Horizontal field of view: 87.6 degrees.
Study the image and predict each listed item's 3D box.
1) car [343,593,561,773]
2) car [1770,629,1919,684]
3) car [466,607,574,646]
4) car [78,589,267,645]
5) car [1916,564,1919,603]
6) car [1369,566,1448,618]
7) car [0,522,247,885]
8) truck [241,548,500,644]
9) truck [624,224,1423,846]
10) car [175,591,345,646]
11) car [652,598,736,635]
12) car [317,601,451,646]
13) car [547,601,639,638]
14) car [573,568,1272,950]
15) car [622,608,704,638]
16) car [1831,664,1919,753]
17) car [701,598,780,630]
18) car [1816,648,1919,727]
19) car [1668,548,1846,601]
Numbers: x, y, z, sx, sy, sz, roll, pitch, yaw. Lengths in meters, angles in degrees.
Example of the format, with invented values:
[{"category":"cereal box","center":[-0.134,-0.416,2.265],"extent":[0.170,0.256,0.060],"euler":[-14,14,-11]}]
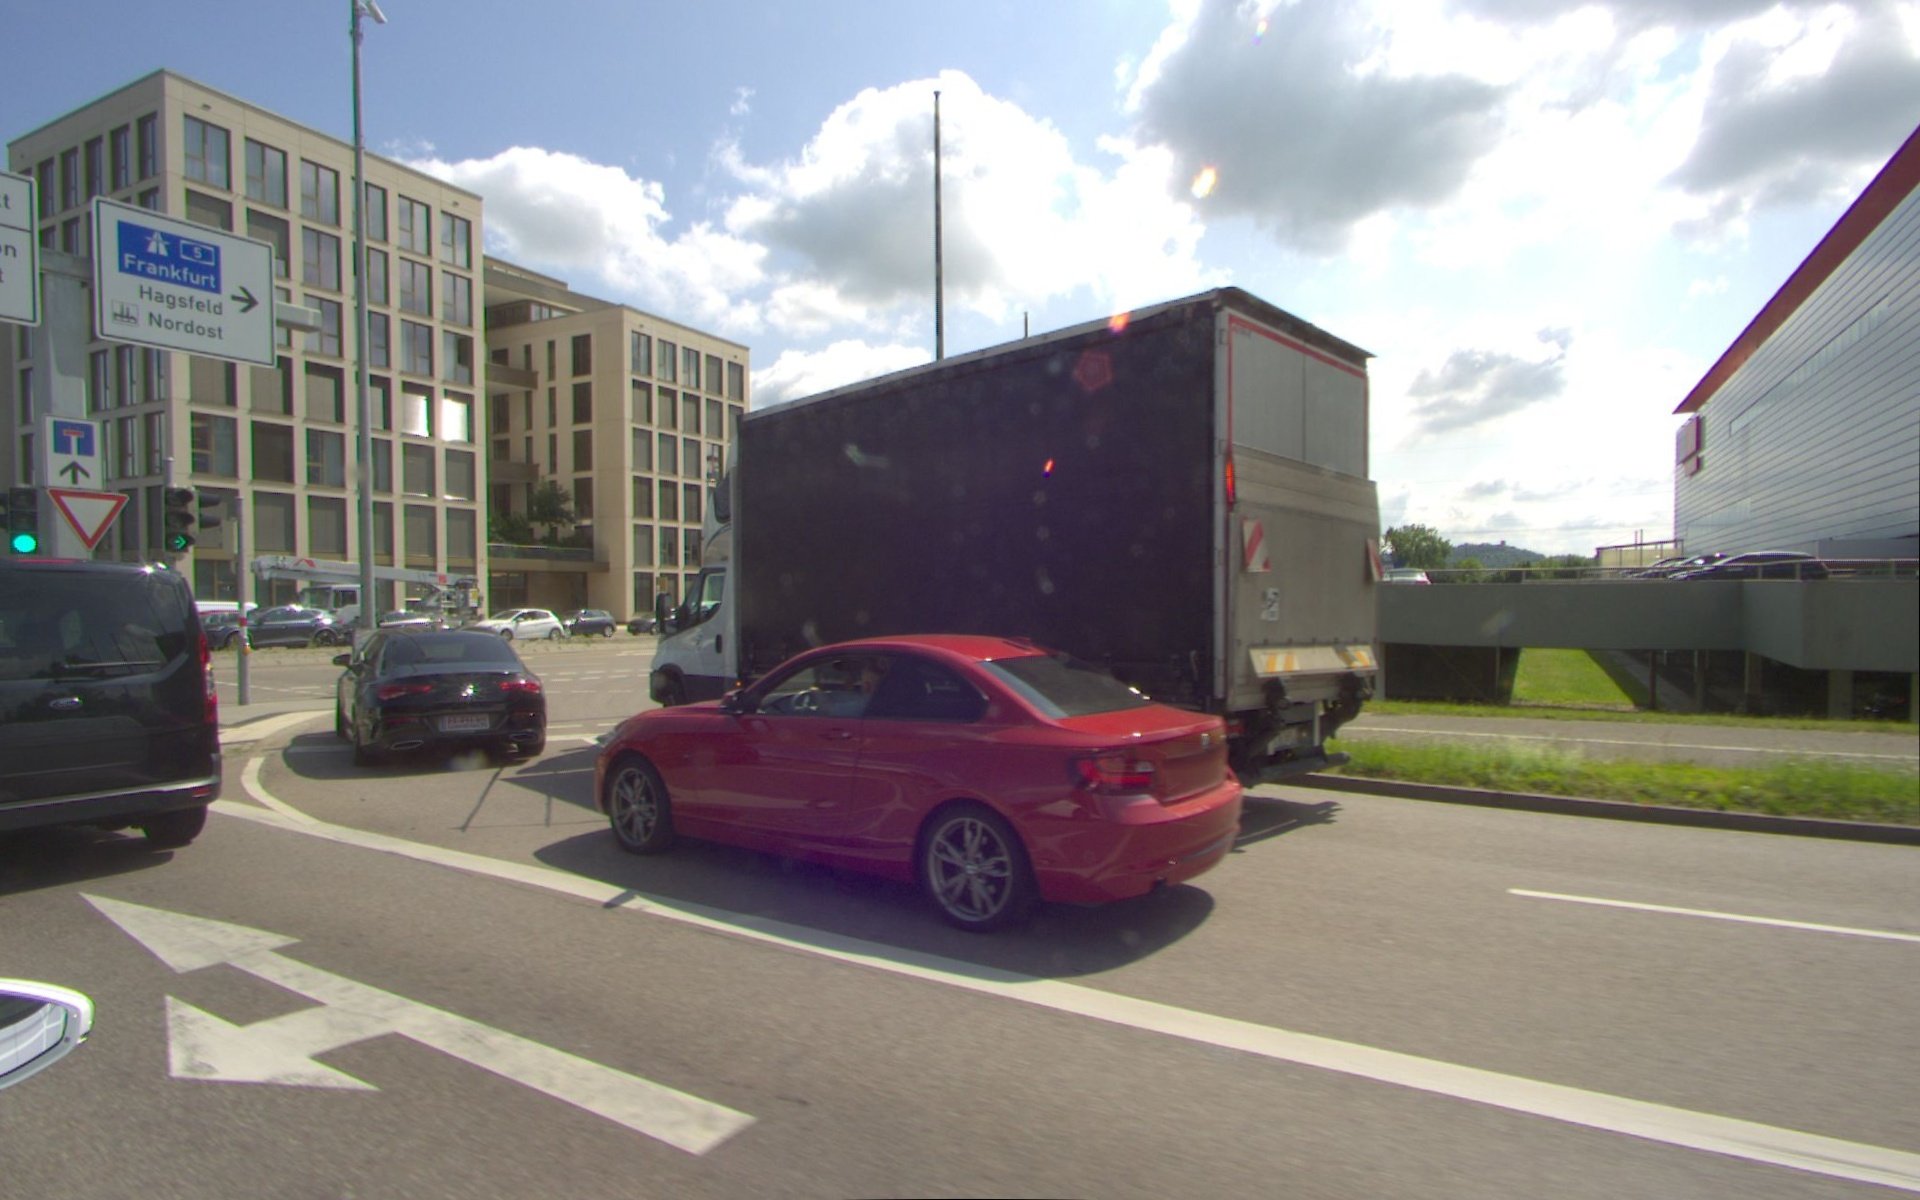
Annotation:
[{"category":"car","center":[-6.012,0.848,11.584],"extent":[1.840,1.676,4.194],"euler":[1,-2,-33]},{"category":"car","center":[30.802,1.909,34.394],"extent":[4.296,1.772,1.992],"euler":[-1,-1,28]},{"category":"car","center":[-19.463,1.205,44.433],"extent":[1.800,1.647,4.195],"euler":[-1,-2,28]},{"category":"car","center":[-28.017,0.652,35.835],"extent":[1.967,1.861,4.979],"euler":[-1,-2,24]},{"category":"car","center":[45.647,-0.842,45.872],"extent":[1.536,1.847,4.406],"euler":[0,-1,28]},{"category":"car","center":[15.460,-0.222,34.414],"extent":[1.855,1.606,4.142],"euler":[-1,-2,33]},{"category":"car","center":[-6.629,0.577,6.624],"extent":[3.944,1.929,1.819],"euler":[-1,-1,33]},{"category":"truck","center":[-24.539,0.006,42.568],"extent":[2.631,3.600,9.756],"euler":[-1,-2,25]},{"category":"truck","center":[-0.175,-0.281,10.938],"extent":[3.191,4.078,8.985],"euler":[1,-2,-43]},{"category":"car","center":[-22.521,0.636,32.416],"extent":[1.798,1.647,4.200],"euler":[-1,-2,24]},{"category":"car","center":[-14.212,0.925,53.757],"extent":[1.801,1.861,4.427],"euler":[-1,-2,30]},{"category":"car","center":[-22.387,0.932,39.058],"extent":[1.801,1.647,4.193],"euler":[-1,-2,30]},{"category":"car","center":[-19.147,1.069,52.481],"extent":[1.801,1.861,4.427],"euler":[-1,-2,30]},{"category":"car","center":[-0.383,0.774,6.356],"extent":[4.161,1.676,1.855],"euler":[-2,-2,34]},{"category":"car","center":[-16.741,1.310,56.686],"extent":[1.801,1.643,4.427],"euler":[-1,-2,30]},{"category":"car","center":[21.484,2.335,21.405],"extent":[3.938,1.772,1.992],"euler":[0,-1,28]},{"category":"car","center":[-13.433,0.886,61.390],"extent":[1.805,1.861,4.693],"euler":[-1,-2,38]},{"category":"car","center":[23.421,2.088,23.829],"extent":[4.296,1.772,1.992],"euler":[-1,-1,28]},{"category":"car","center":[26.845,-0.827,33.926],"extent":[4.352,1.626,1.949],"euler":[-1,-1,26]}]
